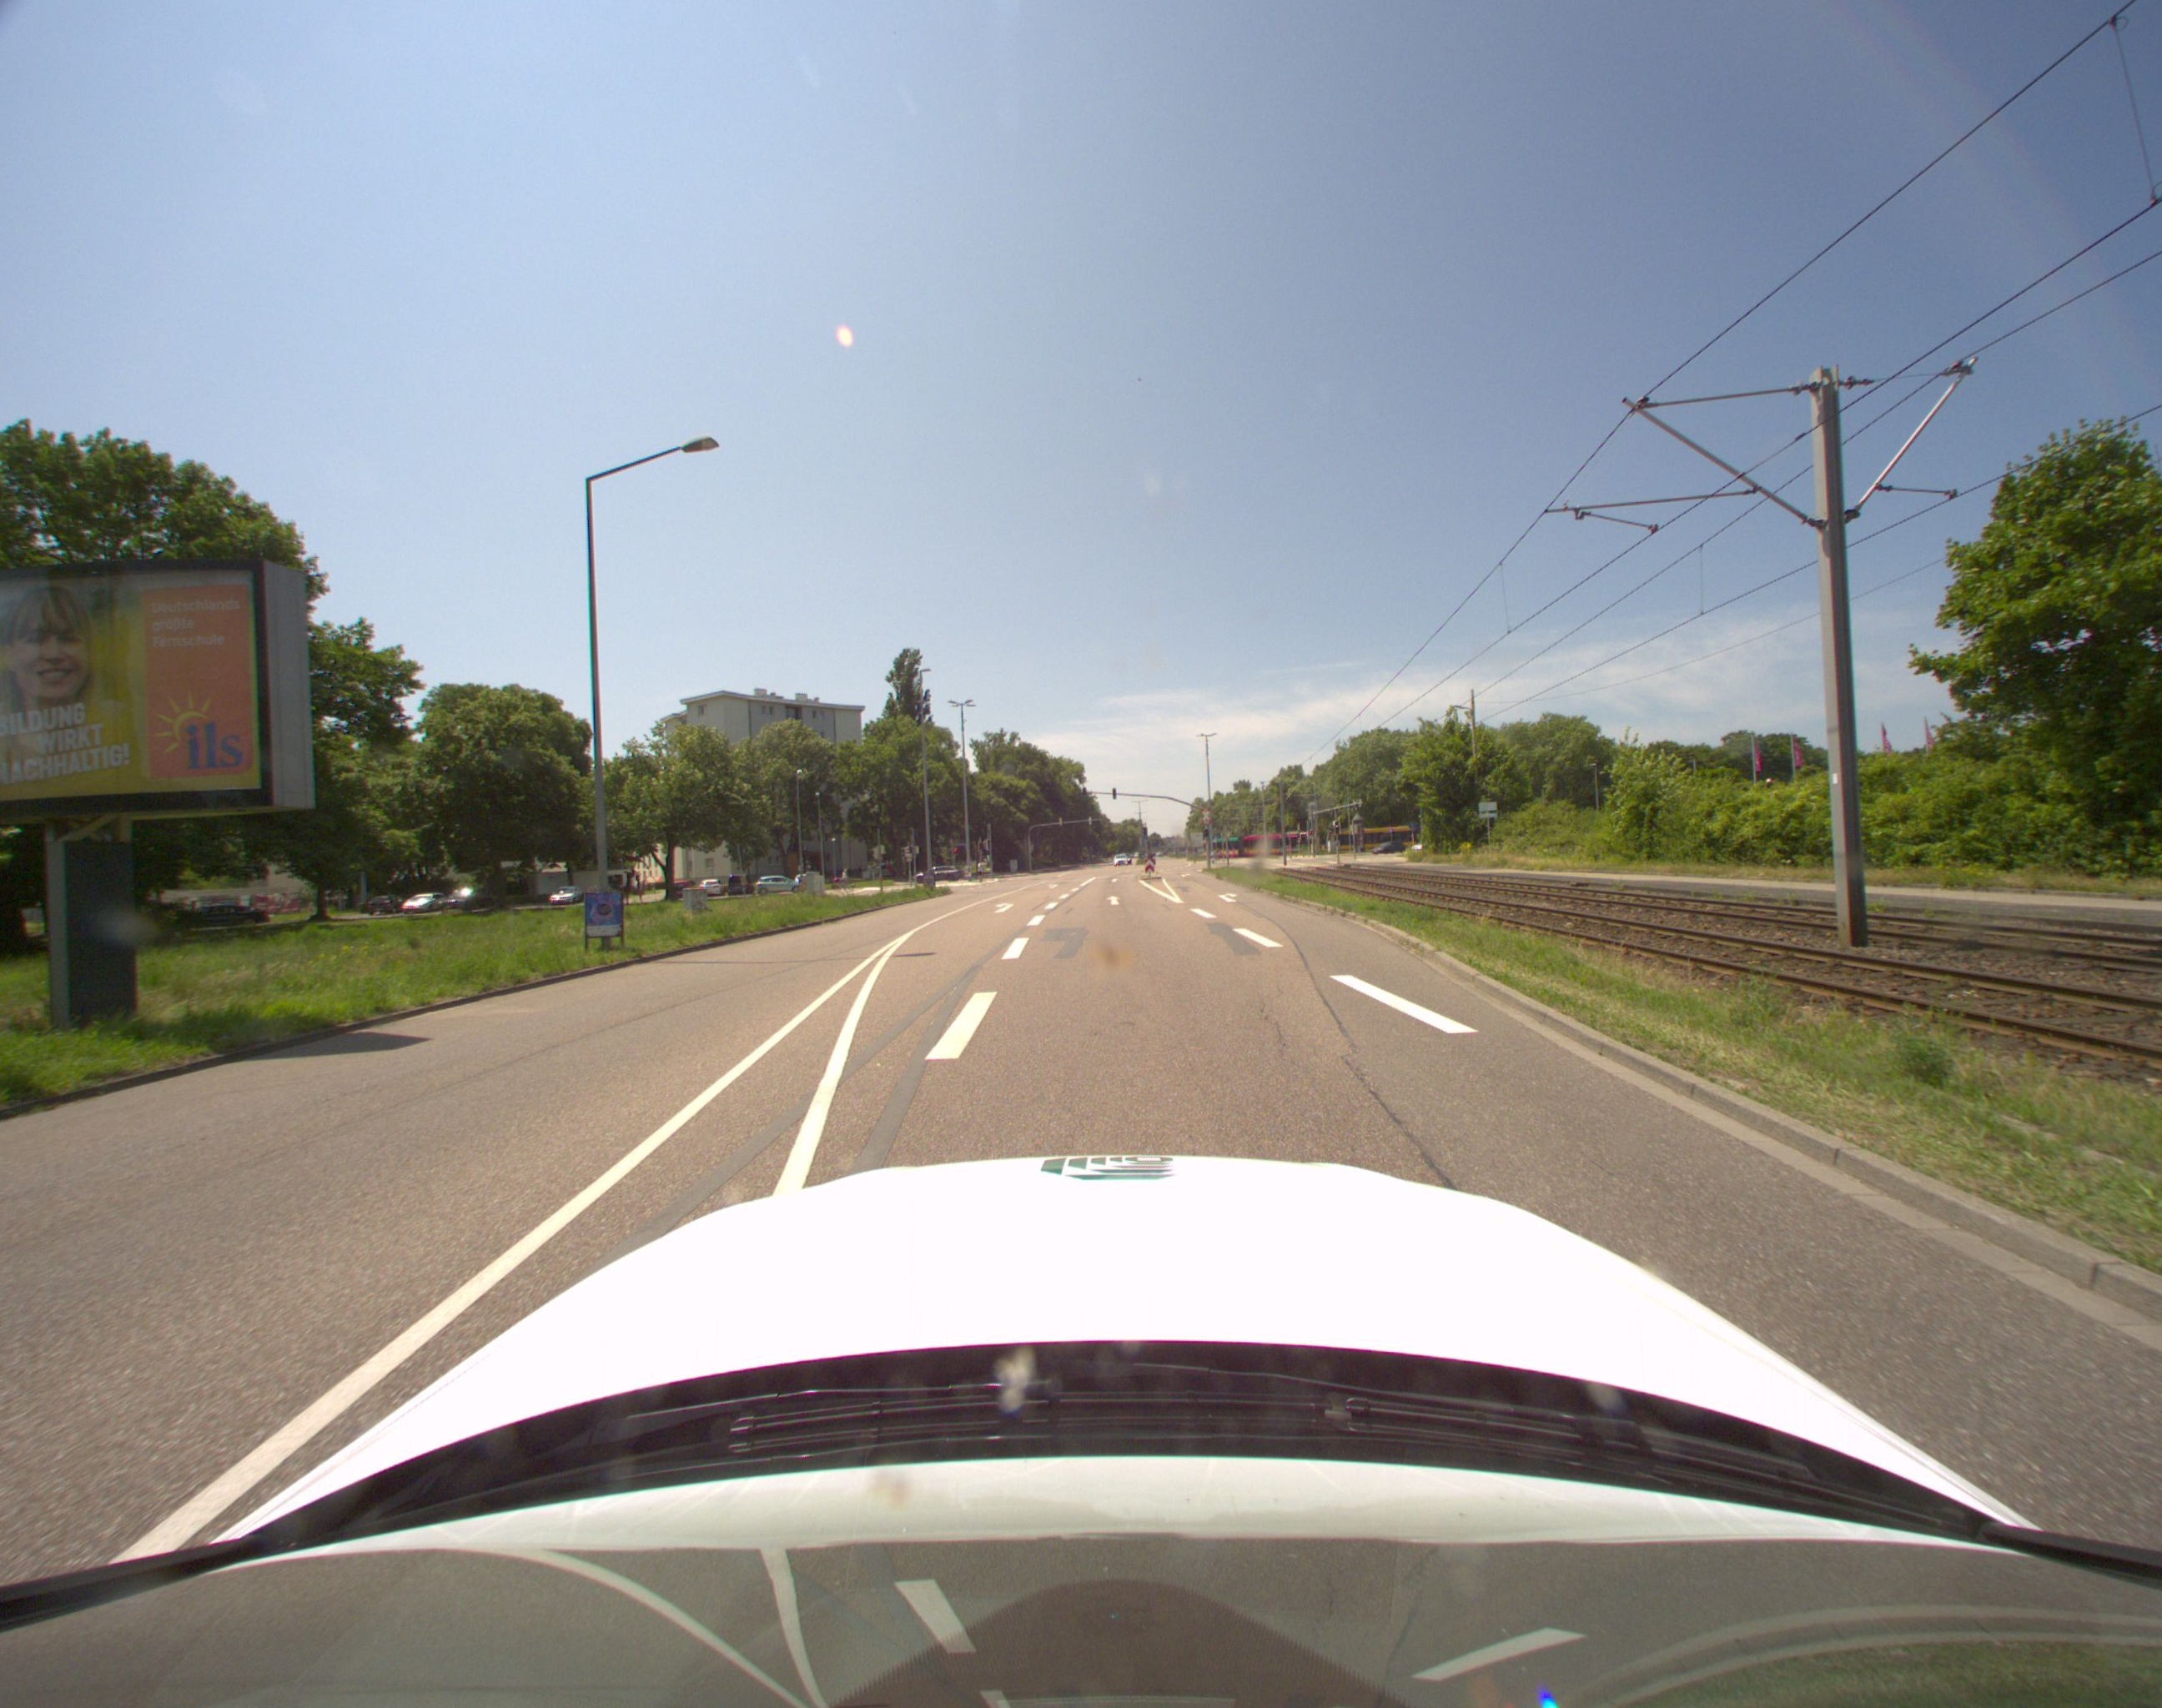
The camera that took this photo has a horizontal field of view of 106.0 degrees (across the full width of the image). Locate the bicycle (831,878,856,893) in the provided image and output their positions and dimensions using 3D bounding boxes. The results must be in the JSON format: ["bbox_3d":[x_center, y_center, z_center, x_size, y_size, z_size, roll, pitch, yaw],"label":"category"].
[{"bbox_3d":[-18.880,2.516,64.755,1.869,1.093,0.642,-3,-1,-18],"label":"bicycle"}]

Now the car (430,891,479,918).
[{"bbox_3d":[-51.258,4.114,66.729,1.851,1.948,3.976,-2,-1,-18],"label":"car"}]

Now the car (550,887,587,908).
[{"bbox_3d":[-43.969,3.697,69.970,1.692,1.562,3.815,-3,-1,-17],"label":"car"}]

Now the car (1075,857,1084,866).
[{"bbox_3d":[-0.366,1.837,198.021,1.986,2.014,4.001,0,-1,2],"label":"car"}]

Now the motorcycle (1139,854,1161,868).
[{"bbox_3d":[6.878,0.691,81.020,0.839,1.255,2.464,-2,-1,39],"label":"motorcycle"}]

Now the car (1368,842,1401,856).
[{"bbox_3d":[35.335,-0.590,94.730,3.517,1.463,1.625,-4,-1,-27],"label":"car"}]

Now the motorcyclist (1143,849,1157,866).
[{"bbox_3d":[6.889,0.386,81.094,0.782,1.643,1.219,-3,-1,39],"label":"motorcyclist"}]

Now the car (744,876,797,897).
[{"bbox_3d":[-24.814,2.590,65.249,3.898,1.469,1.763,-3,0,-20],"label":"car"}]

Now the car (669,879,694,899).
[{"bbox_3d":[-35.750,3.134,72.967,1.856,1.668,3.966,-3,-1,-25],"label":"car"}]

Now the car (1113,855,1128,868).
[{"bbox_3d":[5.210,0.970,106.669,1.776,1.629,3.870,-3,0,5],"label":"car"}]

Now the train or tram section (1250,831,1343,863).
[{"bbox_3d":[32.091,-0.914,121.837,13.281,3.812,2.942,-4,-4,38],"label":"train or tram section"}]

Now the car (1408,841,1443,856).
[{"bbox_3d":[39.251,-0.640,92.813,3.818,1.463,1.624,-3,-1,-30],"label":"car"}]

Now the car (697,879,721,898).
[{"bbox_3d":[-33.401,3.092,73.214,1.711,1.592,3.970,-2,-1,-22],"label":"car"}]

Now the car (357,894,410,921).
[{"bbox_3d":[-56.818,4.298,66.420,1.851,1.948,3.976,-2,-1,-18],"label":"car"}]

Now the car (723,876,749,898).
[{"bbox_3d":[-31.183,2.967,73.689,1.709,1.801,3.976,-2,-1,-18],"label":"car"}]

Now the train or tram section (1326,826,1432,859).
[{"bbox_3d":[42.435,-1.607,116.477,13.880,3.920,2.937,-3,-4,19],"label":"train or tram section"}]

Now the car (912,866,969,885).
[{"bbox_3d":[-12.658,1.938,73.408,4.592,1.499,1.916,-3,0,5],"label":"car"}]

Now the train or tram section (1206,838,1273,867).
[{"bbox_3d":[25.255,-0.203,130.716,2.931,3.812,12.950,0,-4,-28],"label":"train or tram section"}]

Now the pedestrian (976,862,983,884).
[{"bbox_3d":[-7.749,1.456,62.436,0.381,1.687,0.486,-3,-1,1],"label":"pedestrian"}]

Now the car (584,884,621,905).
[{"bbox_3d":[-41.783,3.516,71.172,1.851,1.711,3.976,-2,-1,-18],"label":"car"}]

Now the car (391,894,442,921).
[{"bbox_3d":[-53.901,4.284,66.127,1.851,1.948,3.976,-2,-1,-18],"label":"car"}]

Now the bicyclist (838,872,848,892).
[{"bbox_3d":[-18.934,2.196,64.762,0.666,1.537,0.627,-3,-1,-18],"label":"bicyclist"}]

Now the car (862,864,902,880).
[{"bbox_3d":[-24.753,2.217,101.324,1.769,1.768,4.576,-4,-1,45],"label":"car"}]

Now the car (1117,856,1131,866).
[{"bbox_3d":[6.060,0.998,114.198,1.702,1.365,3.870,-3,0,5],"label":"car"}]
